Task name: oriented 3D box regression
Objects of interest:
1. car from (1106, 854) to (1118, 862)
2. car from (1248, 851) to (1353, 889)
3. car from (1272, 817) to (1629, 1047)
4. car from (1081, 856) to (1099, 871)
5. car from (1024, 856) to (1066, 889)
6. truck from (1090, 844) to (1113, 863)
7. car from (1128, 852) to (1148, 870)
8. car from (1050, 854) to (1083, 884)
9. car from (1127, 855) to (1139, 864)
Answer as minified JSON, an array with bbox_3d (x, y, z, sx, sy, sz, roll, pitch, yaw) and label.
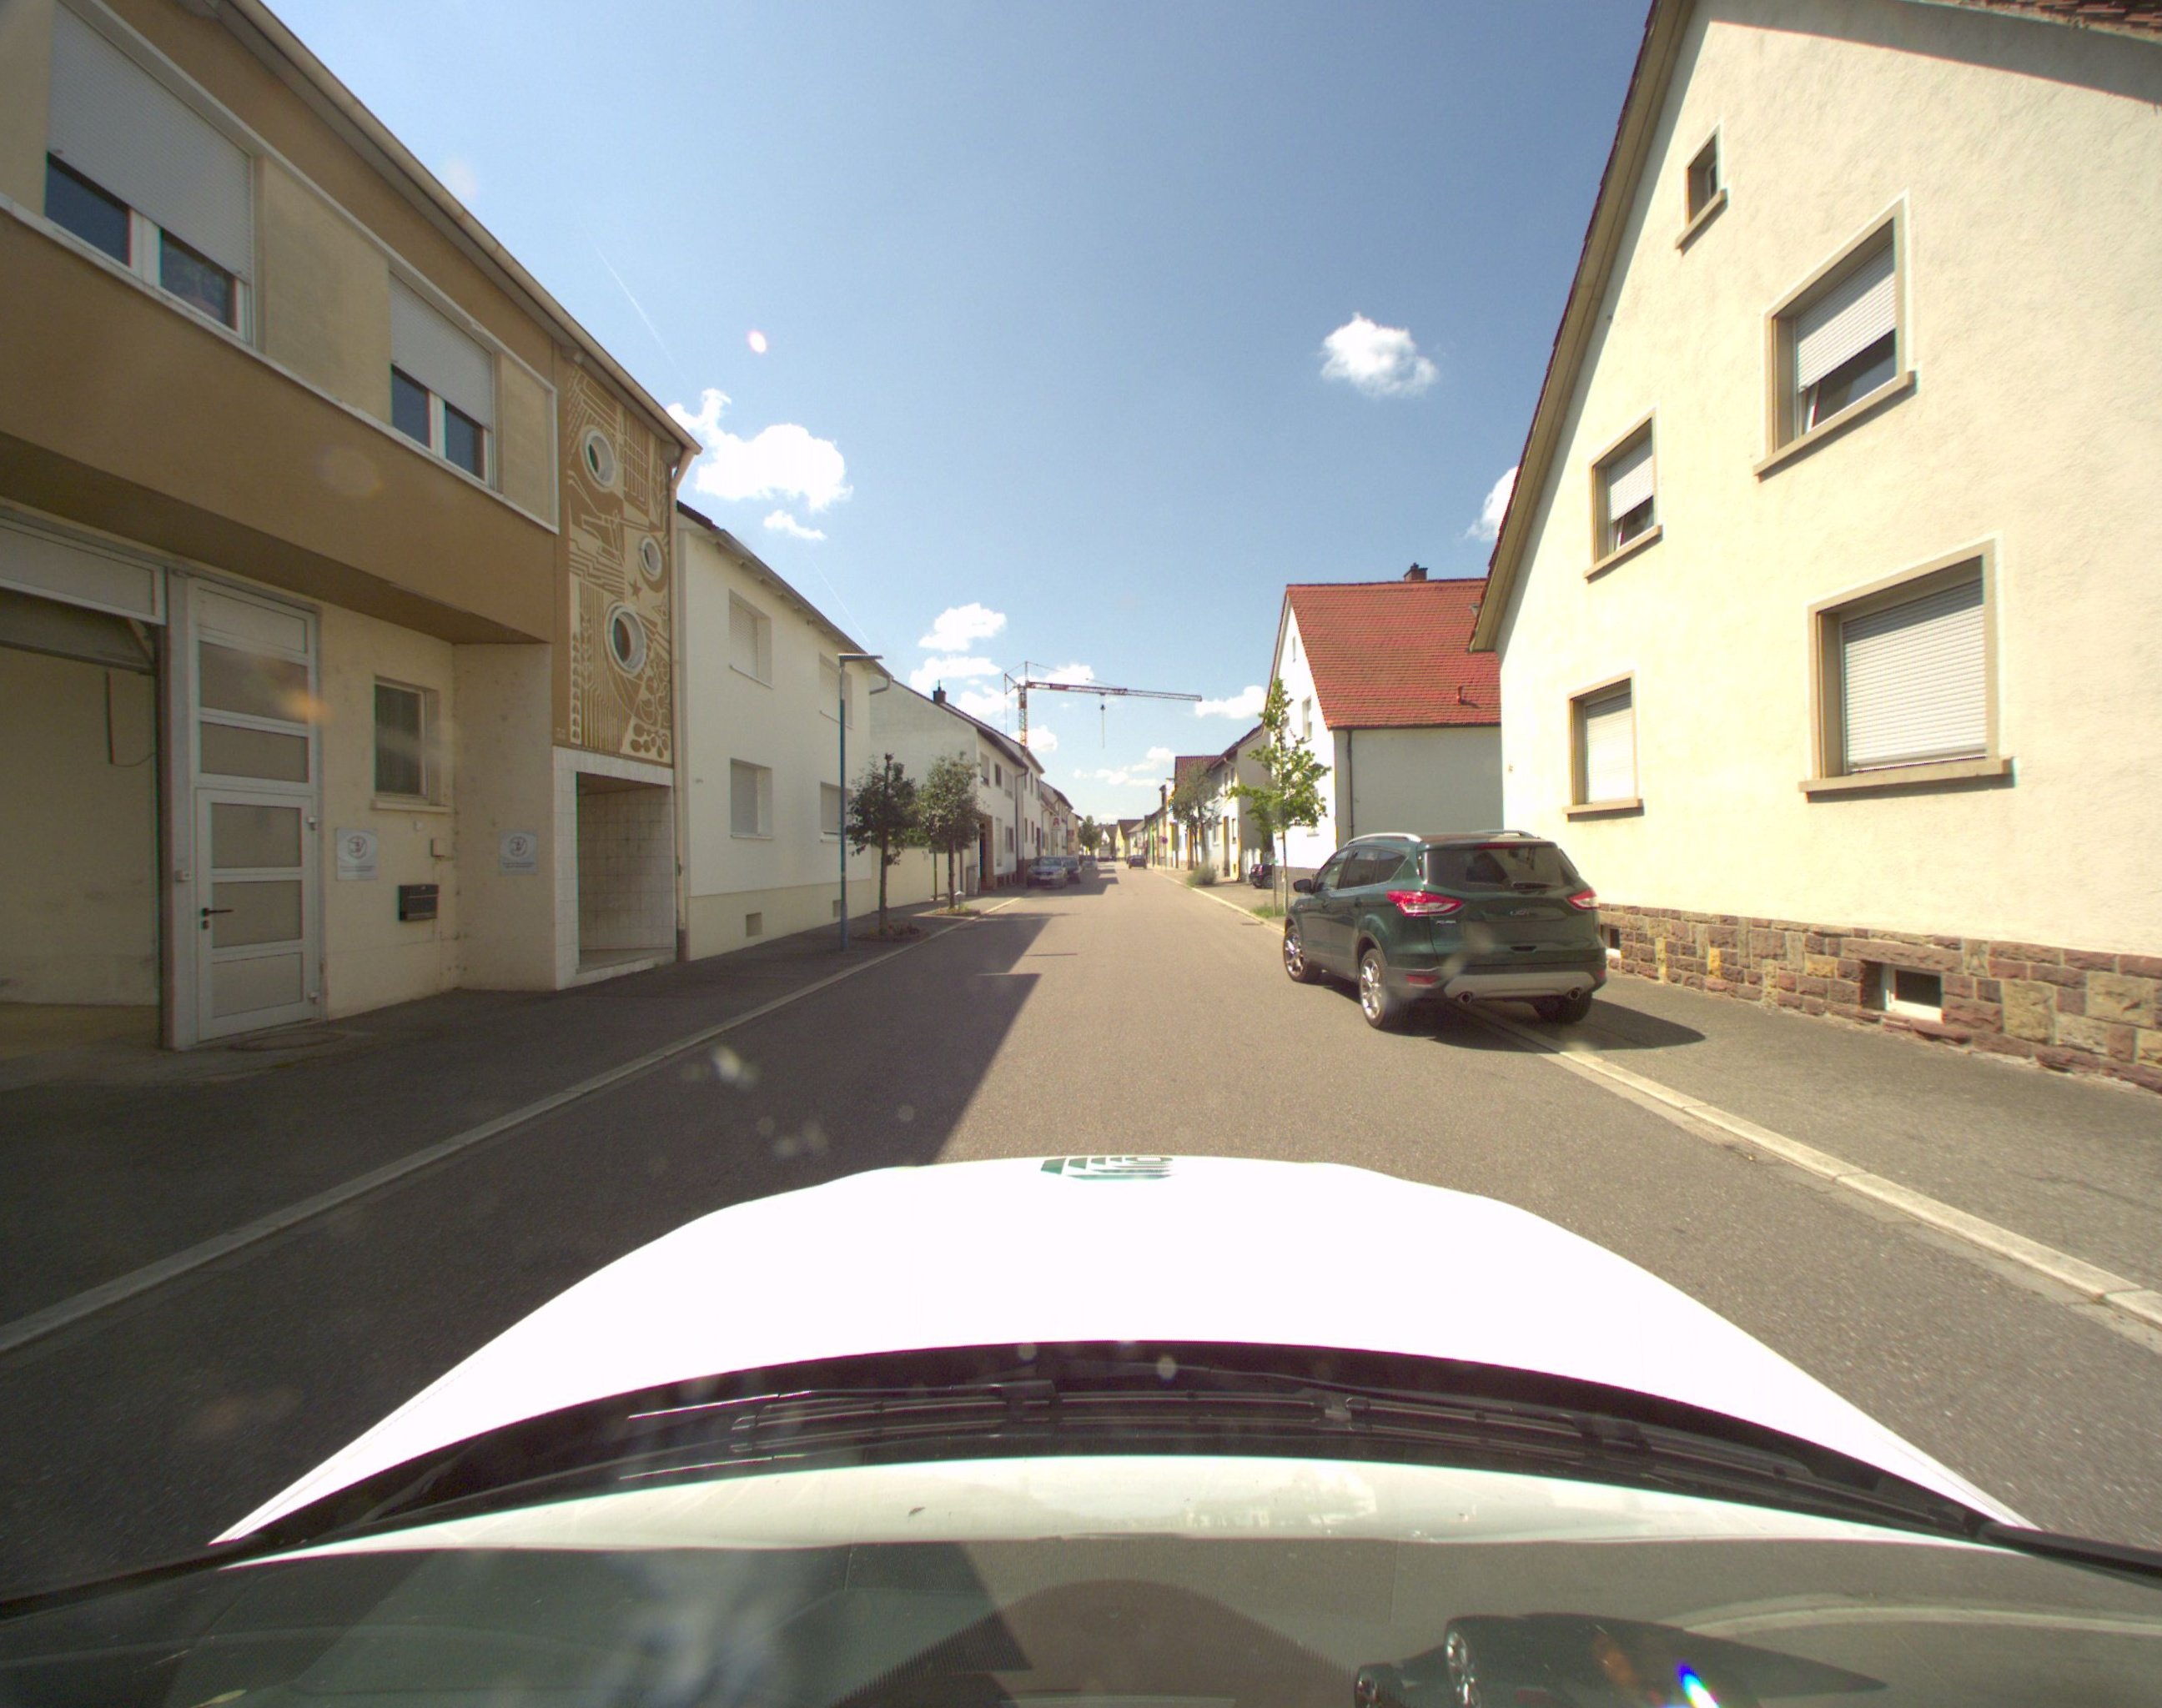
[{"bbox_3d":[7.306,1.055,193.342,1.785,1.753,4.208,-2,-1,-14],"label":"car"},{"bbox_3d":[9.019,0.647,33.660,3.906,1.415,1.742,-2,0,3],"label":"car"},{"bbox_3d":[3.327,0.600,8.364,1.723,1.717,4.275,-1,0,0],"label":"car"},{"bbox_3d":[0.962,0.948,86.161,1.716,1.555,4.175,0,0,3],"label":"car"},{"bbox_3d":[-1.743,0.873,40.593,1.752,1.525,4.291,-2,0,2],"label":"car"},{"bbox_3d":[4.442,0.017,182.855,3.375,3.865,13.896,-2,-1,-6],"label":"truck"},{"bbox_3d":[5.886,0.744,84.221,1.776,1.753,4.001,-2,-1,1],"label":"car"},{"bbox_3d":[-0.795,0.848,46.839,1.647,1.609,4.063,-2,0,2],"label":"car"},{"bbox_3d":[9.346,0.941,146.132,1.777,1.564,4.337,-2,-1,0],"label":"car"}]
